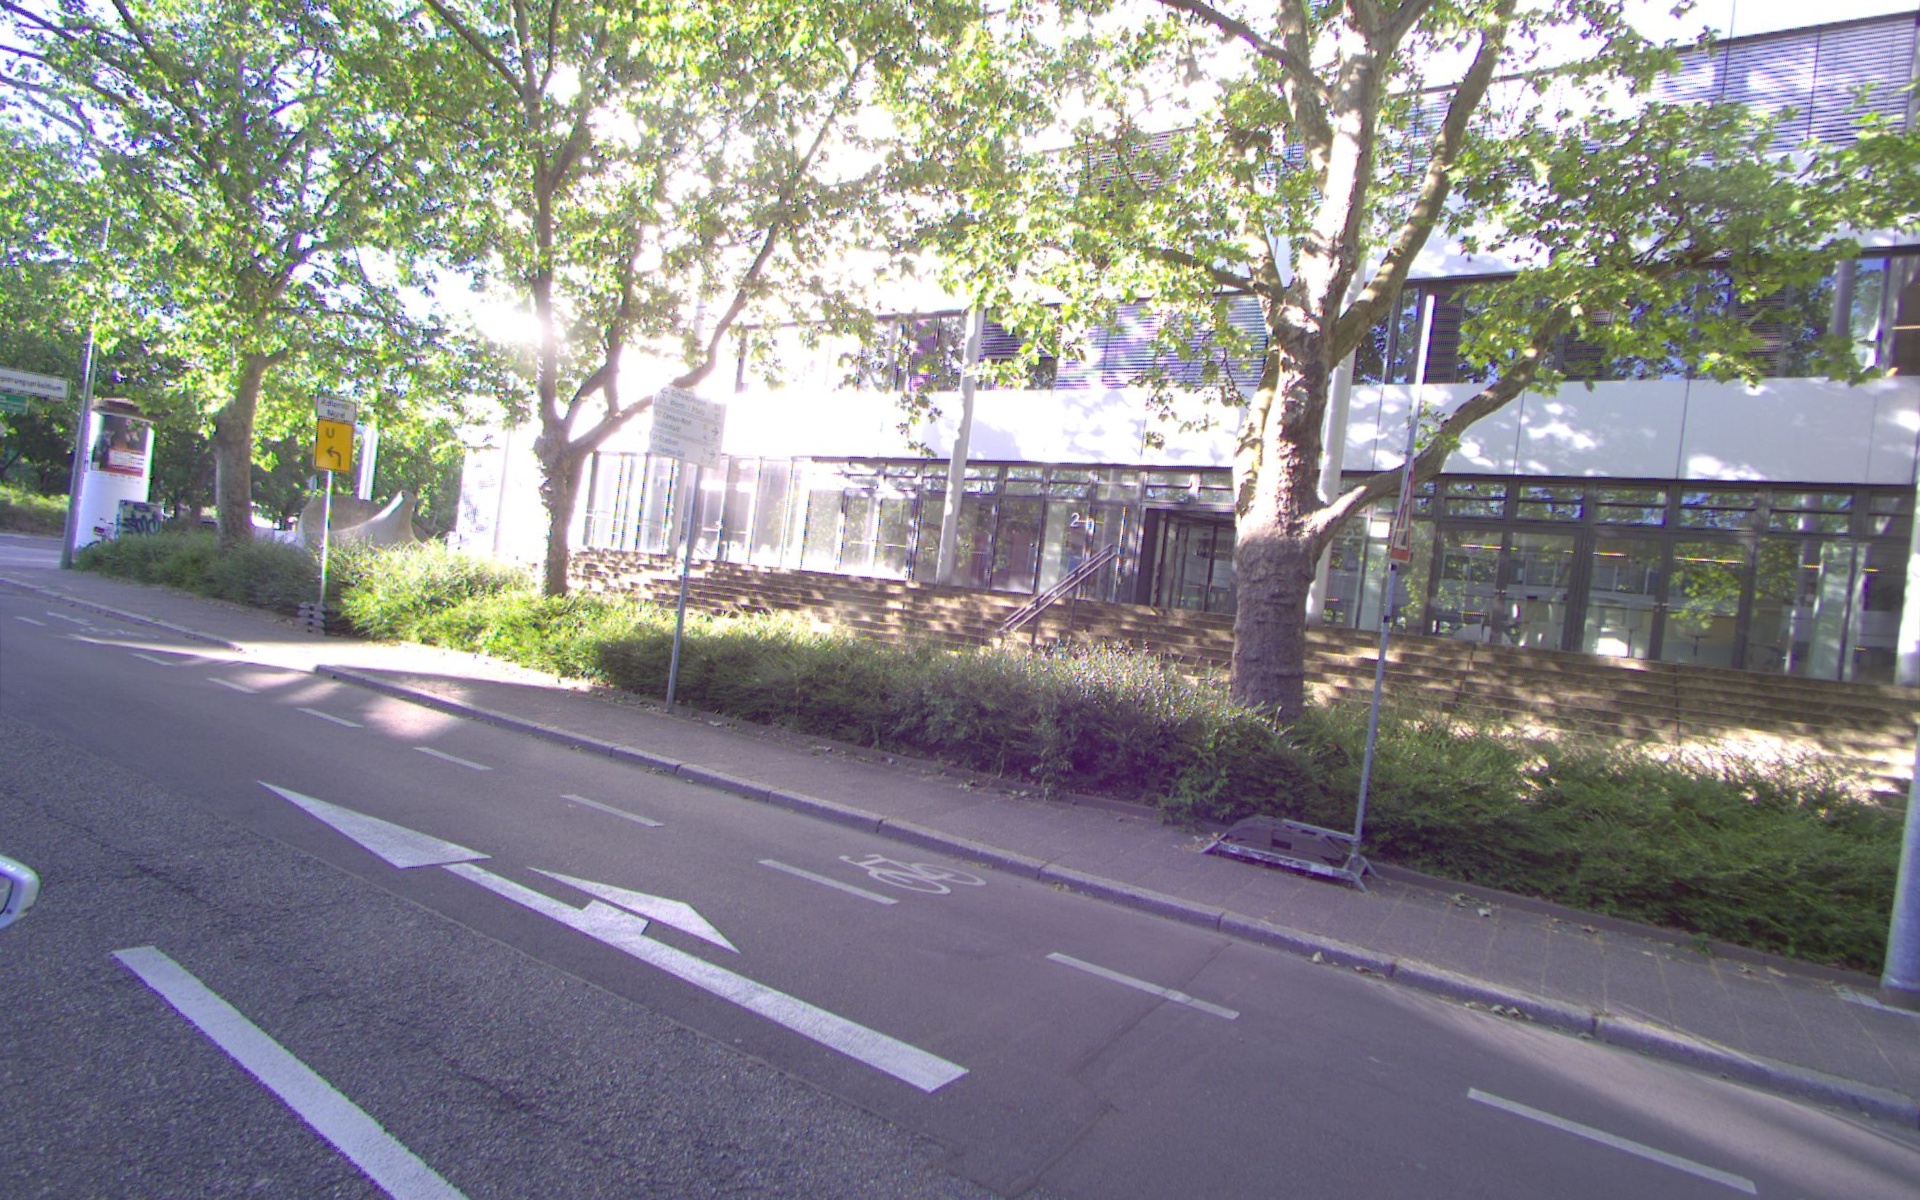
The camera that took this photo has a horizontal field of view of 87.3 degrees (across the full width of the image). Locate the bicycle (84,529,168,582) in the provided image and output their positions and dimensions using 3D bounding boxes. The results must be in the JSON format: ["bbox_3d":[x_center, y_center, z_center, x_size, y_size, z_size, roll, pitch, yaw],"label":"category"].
[{"bbox_3d":[-19.243,-1.016,23.234,0.357,1.036,1.354,7,-1,33],"label":"bicycle"}]
